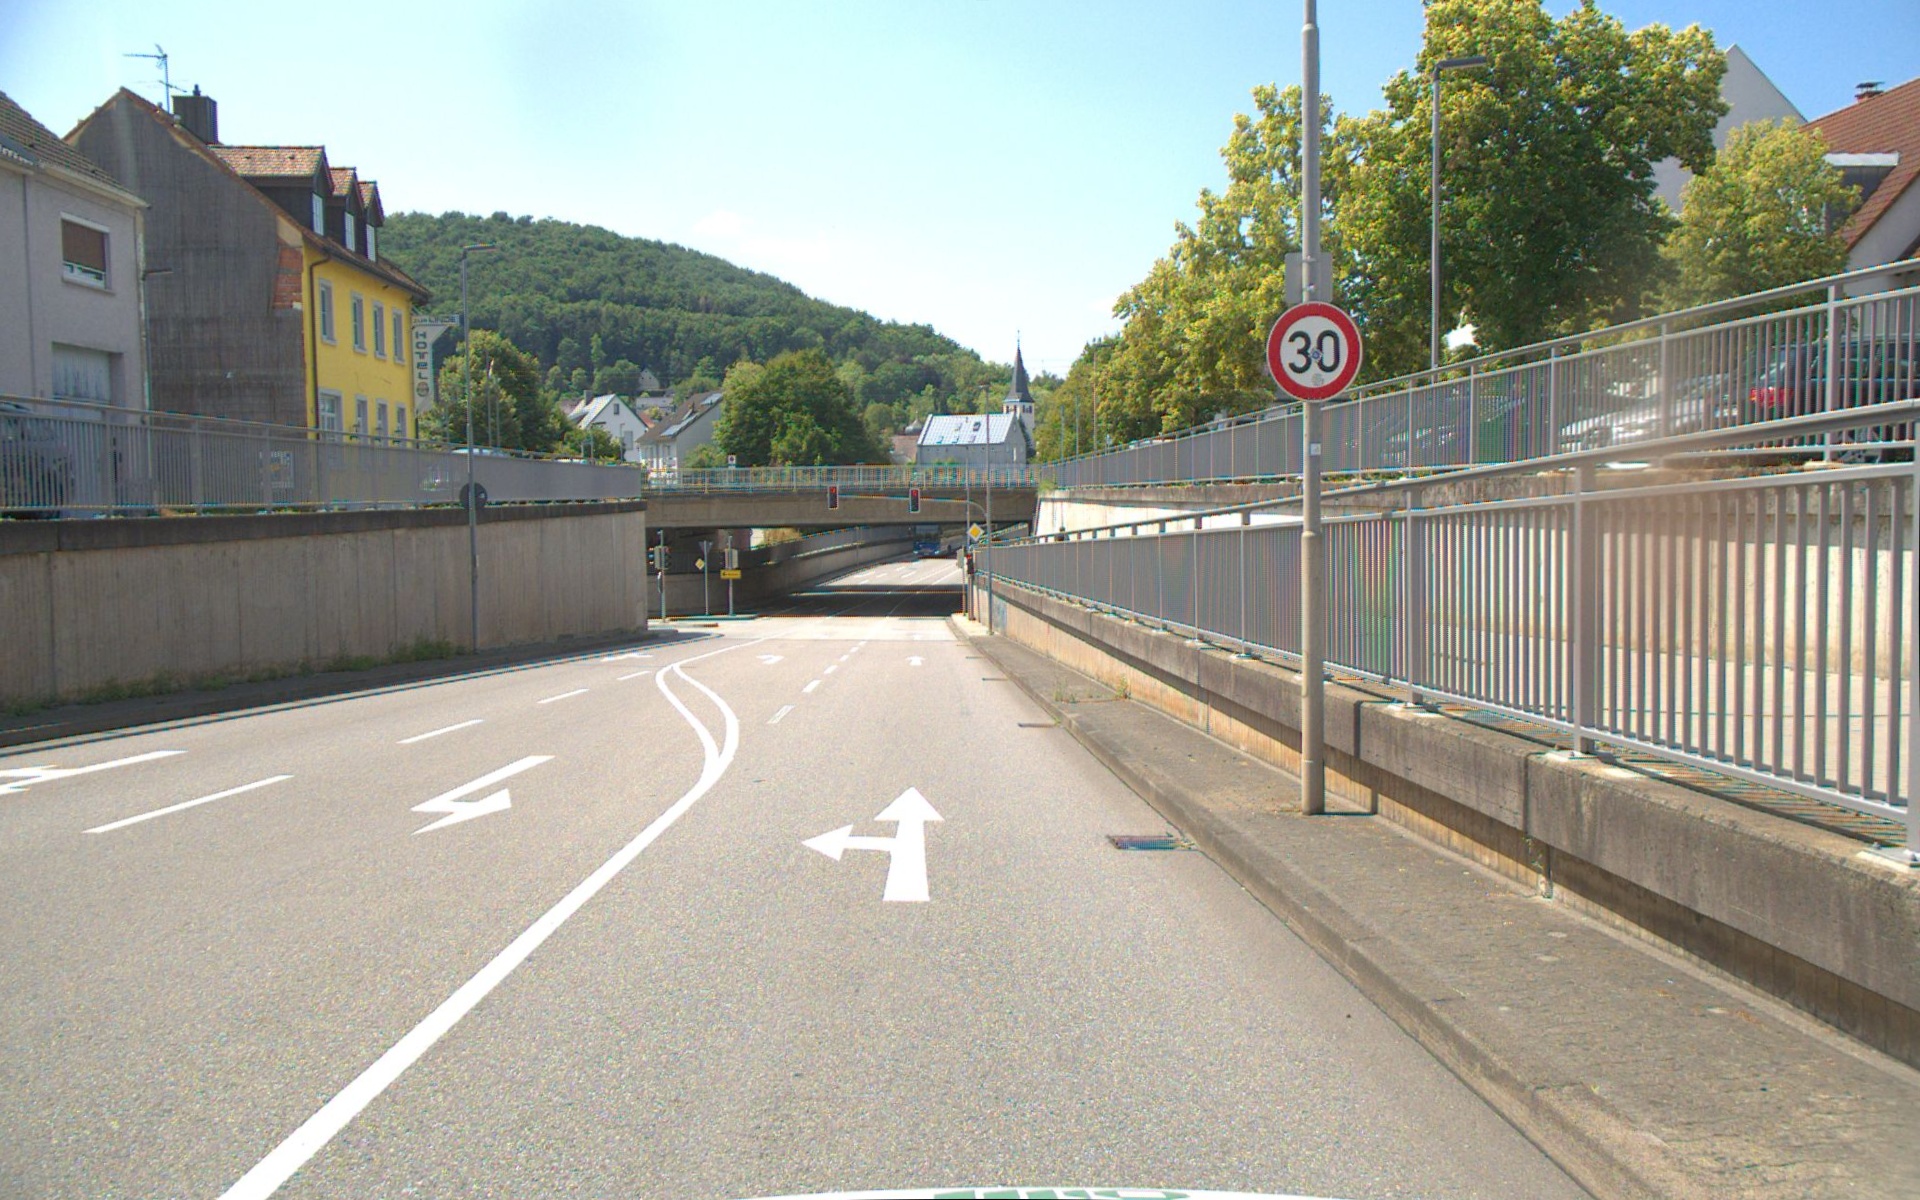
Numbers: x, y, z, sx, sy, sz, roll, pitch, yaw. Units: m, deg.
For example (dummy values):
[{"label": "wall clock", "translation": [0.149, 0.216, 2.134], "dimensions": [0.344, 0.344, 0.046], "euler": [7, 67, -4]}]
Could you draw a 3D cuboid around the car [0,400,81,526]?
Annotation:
[{"label": "car", "translation": [-11.722, -1.535, 18.371], "dimensions": [1.750, 1.429, 4.391], "euler": [0, 2, -3]}]

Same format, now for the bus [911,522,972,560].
[{"label": "bus", "translation": [-1.541, -5.289, 147.587], "dimensions": [2.526, 3.227, 12.390], "euler": [1, 3, 13]}]

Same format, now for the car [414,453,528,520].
[{"label": "car", "translation": [-12.193, -2.799, 41.498], "dimensions": [1.763, 1.551, 4.391], "euler": [0, 2, -3]}]

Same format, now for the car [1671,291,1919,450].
[{"label": "car", "translation": [9.450, -2.286, 16.533], "dimensions": [3.906, 1.329, 1.772], "euler": [-2, 1, -1]}]

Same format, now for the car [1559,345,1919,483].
[{"label": "car", "translation": [9.090, -2.085, 18.831], "dimensions": [3.904, 1.452, 1.725], "euler": [0, 3, 1]}]

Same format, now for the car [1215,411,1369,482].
[{"label": "car", "translation": [9.102, -4.206, 45.529], "dimensions": [3.904, 1.801, 1.770], "euler": [0, 0, 1]}]

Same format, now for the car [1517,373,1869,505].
[{"label": "car", "translation": [9.616, -2.101, 21.911], "dimensions": [3.904, 1.583, 1.725], "euler": [0, 0, 1]}]

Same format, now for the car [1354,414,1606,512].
[{"label": "car", "translation": [9.089, -2.385, 29.117], "dimensions": [3.904, 1.583, 1.725], "euler": [0, 0, 1]}]

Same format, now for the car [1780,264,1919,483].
[{"label": "car", "translation": [9.496, -1.945, 14.336], "dimensions": [3.909, 1.660, 1.771], "euler": [-2, 1, -5]}]

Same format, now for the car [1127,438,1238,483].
[{"label": "car", "translation": [8.177, -5.129, 61.069], "dimensions": [3.904, 1.512, 1.770], "euler": [0, 0, 1]}]

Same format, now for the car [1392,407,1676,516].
[{"label": "car", "translation": [8.992, -2.158, 26.135], "dimensions": [3.904, 1.583, 1.725], "euler": [0, 0, 1]}]
